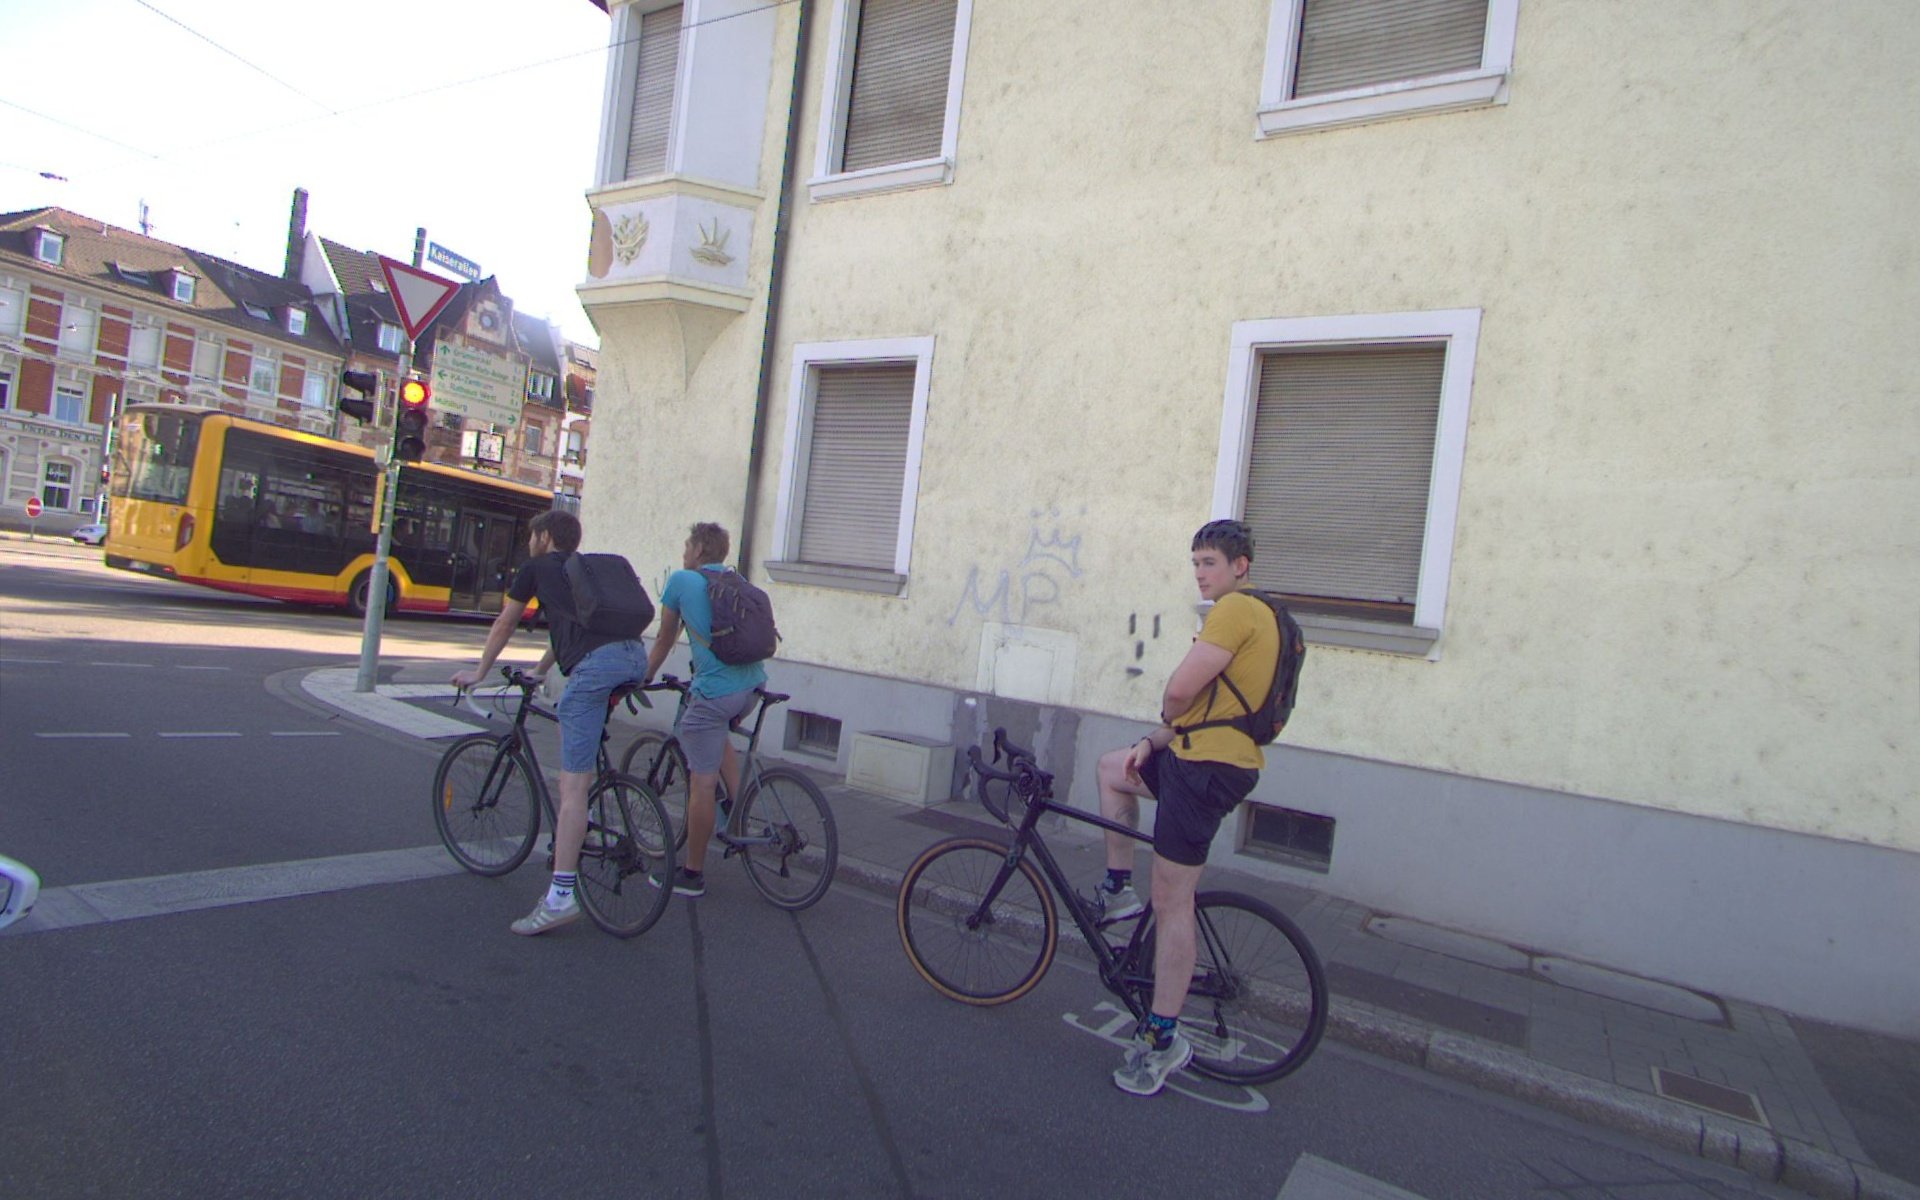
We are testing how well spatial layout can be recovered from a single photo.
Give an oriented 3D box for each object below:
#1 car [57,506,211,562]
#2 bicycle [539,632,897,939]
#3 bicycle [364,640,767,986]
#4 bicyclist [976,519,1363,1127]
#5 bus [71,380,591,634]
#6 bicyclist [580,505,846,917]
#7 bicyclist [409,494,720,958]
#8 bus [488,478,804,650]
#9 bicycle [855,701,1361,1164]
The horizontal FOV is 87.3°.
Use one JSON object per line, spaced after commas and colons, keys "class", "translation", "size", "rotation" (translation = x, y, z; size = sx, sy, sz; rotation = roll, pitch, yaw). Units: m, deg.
{"class": "car", "translation": [-30.965, -2.446, 37.823], "size": [1.854, 1.440, 4.034], "rotation": [7, -1, 31]}
{"class": "bicycle", "translation": [-1.317, 0.879, 5.286], "size": [1.858, 1.180, 0.571], "rotation": [7, 0, 32]}
{"class": "bicycle", "translation": [-1.806, 0.836, 4.473], "size": [1.858, 1.071, 0.571], "rotation": [7, 0, 32]}
{"class": "bicyclist", "translation": [0.765, 0.698, 3.662], "size": [1.019, 1.839, 0.652], "rotation": [7, 0, 32]}
{"class": "bus", "translation": [-11.958, -1.470, 20.534], "size": [2.737, 3.497, 8.645], "rotation": [8, -2, 24]}
{"class": "bicyclist", "translation": [-1.293, 0.525, 5.276], "size": [0.978, 1.910, 0.652], "rotation": [7, 0, 32]}
{"class": "bicyclist", "translation": [-1.757, 0.493, 4.475], "size": [0.978, 1.788, 0.652], "rotation": [7, 0, 32]}
{"class": "bus", "translation": [-8.396, -0.712, 28.771], "size": [2.729, 3.497, 9.445], "rotation": [8, -2, 24]}
{"class": "bicycle", "translation": [0.506, 1.092, 3.778], "size": [1.670, 1.180, 0.571], "rotation": [7, 0, 32]}
